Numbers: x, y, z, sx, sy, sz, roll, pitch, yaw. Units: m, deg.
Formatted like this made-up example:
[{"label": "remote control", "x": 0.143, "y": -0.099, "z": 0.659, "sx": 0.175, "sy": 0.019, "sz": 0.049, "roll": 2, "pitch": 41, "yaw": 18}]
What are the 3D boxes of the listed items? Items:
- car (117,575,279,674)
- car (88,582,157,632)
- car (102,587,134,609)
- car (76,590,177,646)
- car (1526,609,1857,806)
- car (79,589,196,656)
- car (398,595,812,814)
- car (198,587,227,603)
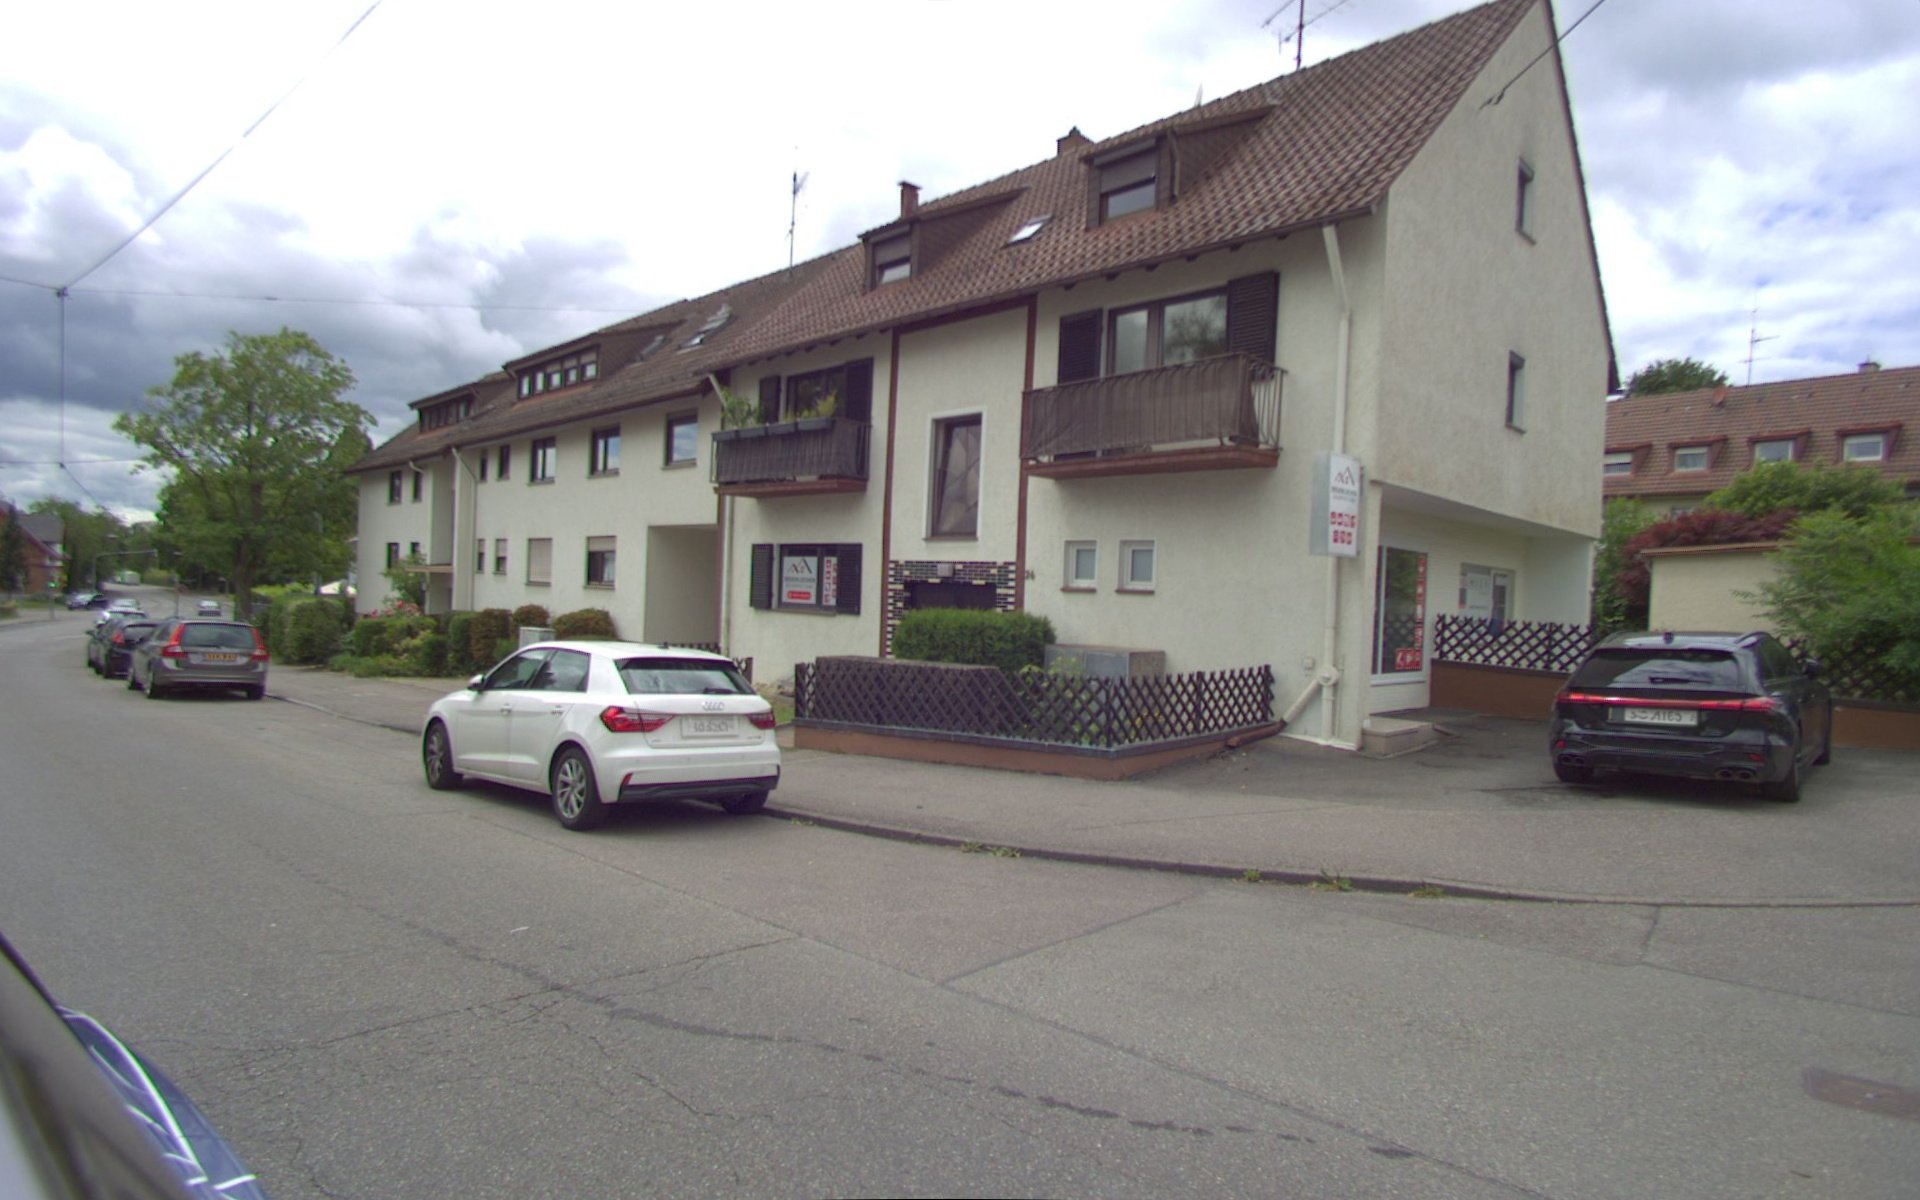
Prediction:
[{"label": "car", "x": -15.353, "y": 0.451, "z": 20.292, "sx": 4.789, "sy": 1.693, "sz": 1.826, "roll": 1, "pitch": -4, "yaw": 45}, {"label": "car", "x": -31.715, "y": 0.232, "z": 38.338, "sx": 1.826, "sy": 1.727, "sz": 4.583, "roll": 4, "pitch": -2, "yaw": -40}, {"label": "car", "x": -65.142, "y": -0.185, "z": 78.290, "sx": 1.754, "sy": 1.530, "sz": 3.563, "roll": 0, "pitch": 2, "yaw": -42}, {"label": "car", "x": -24.083, "y": 0.493, "z": 29.189, "sx": 4.079, "sy": 1.449, "sz": 1.742, "roll": 0, "pitch": -3, "yaw": 44}, {"label": "car", "x": 7.393, "y": 0.843, "z": 10.037, "sx": 2.001, "sy": 1.483, "sz": 4.466, "roll": 0, "pitch": 0, "yaw": 45}, {"label": "car", "x": -20.575, "y": 0.538, "z": 25.257, "sx": 4.080, "sy": 1.449, "sz": 1.742, "roll": 0, "pitch": -5, "yaw": 45}, {"label": "car", "x": -3.256, "y": 0.778, "z": 8.902, "sx": 3.898, "sy": 1.469, "sz": 1.707, "roll": 1, "pitch": -4, "yaw": 43}, {"label": "car", "x": -70.373, "y": -0.477, "z": 95.353, "sx": 1.689, "sy": 1.364, "sz": 4.096, "roll": 5, "pitch": -1, "yaw": -31}]
